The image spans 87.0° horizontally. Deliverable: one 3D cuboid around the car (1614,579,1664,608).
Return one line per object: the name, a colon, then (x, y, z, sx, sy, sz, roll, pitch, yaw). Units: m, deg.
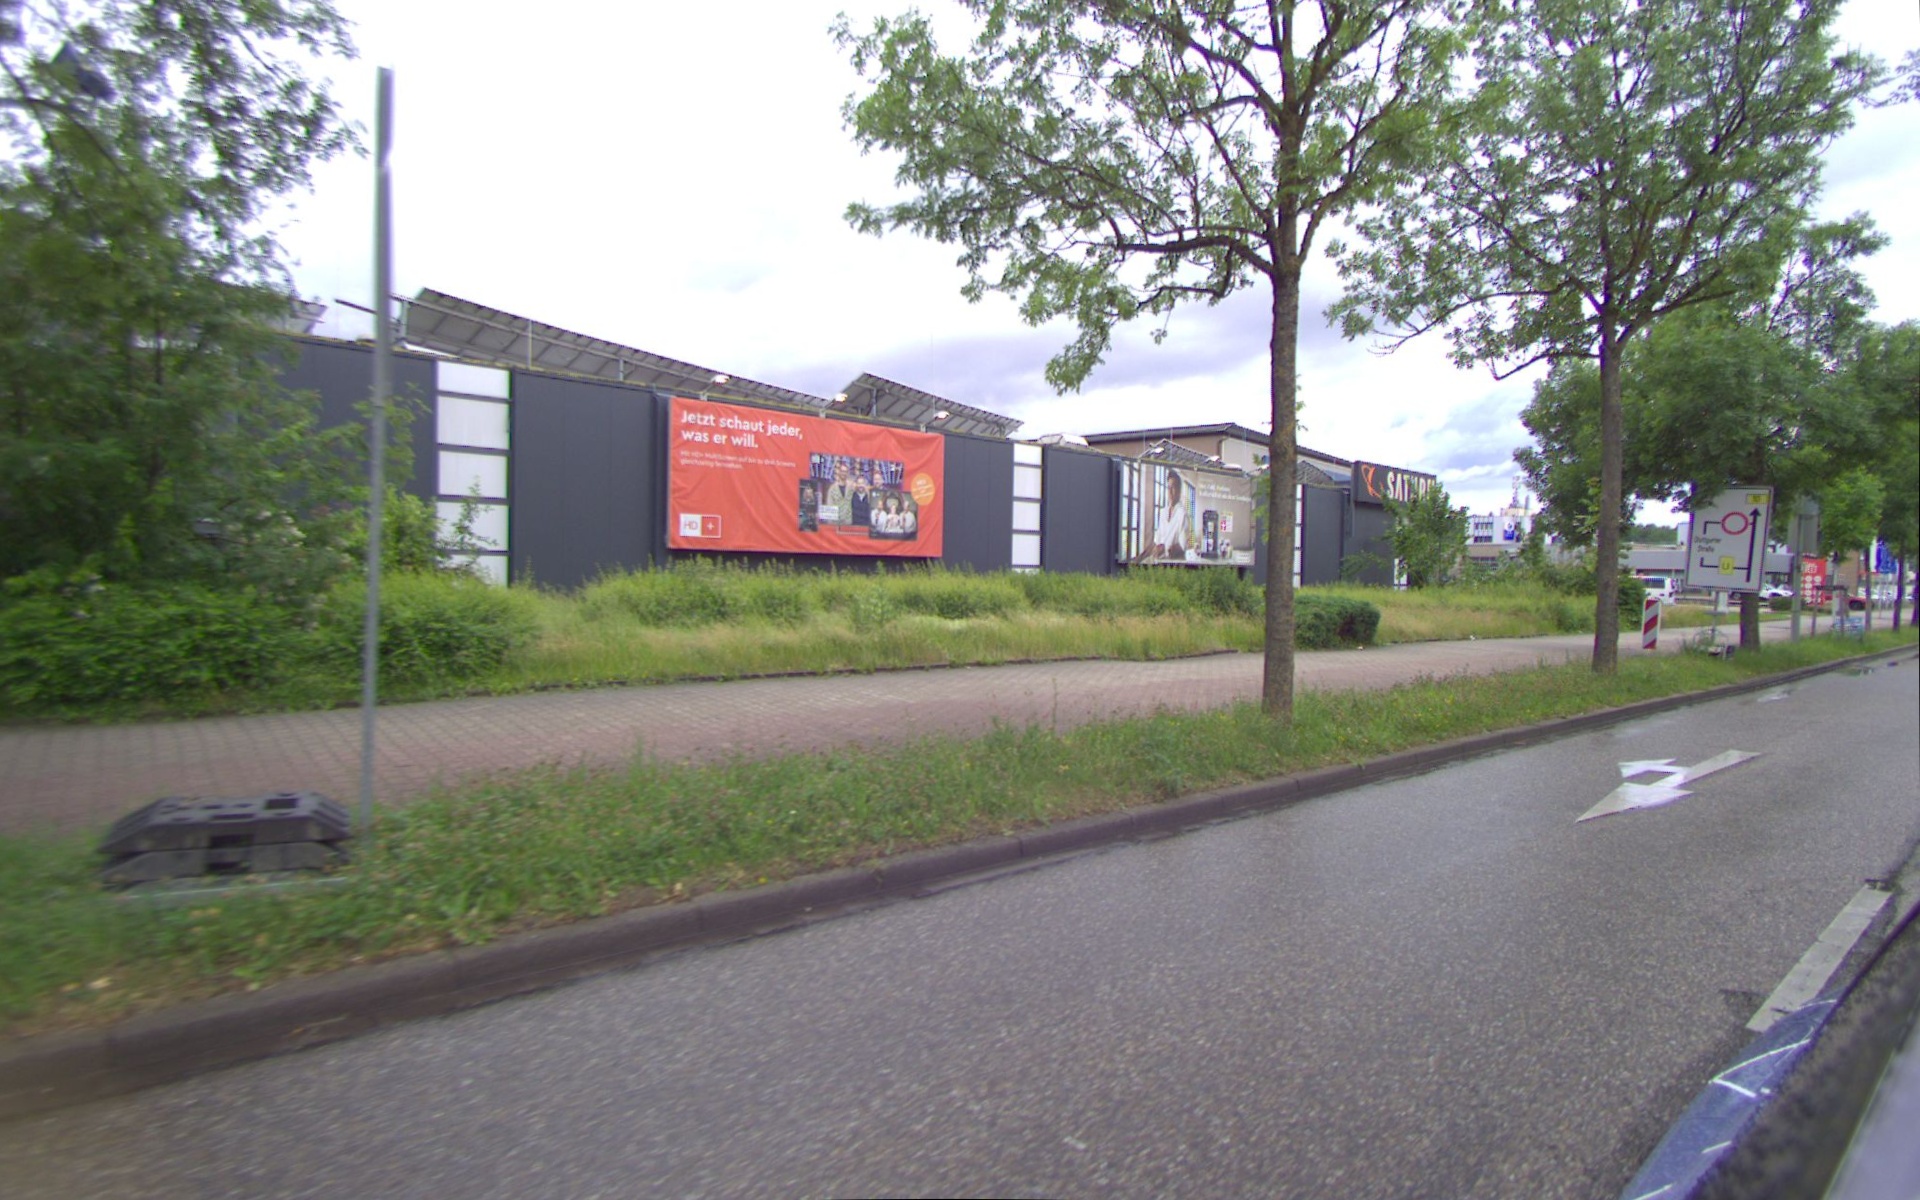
car: (35.523, -0.368, 52.900, 1.747, 1.430, 4.078, 4, 3, 39)

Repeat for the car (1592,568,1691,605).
car: (42.464, -0.873, 63.102, 4.939, 2.038, 1.973, 4, 3, 38)
